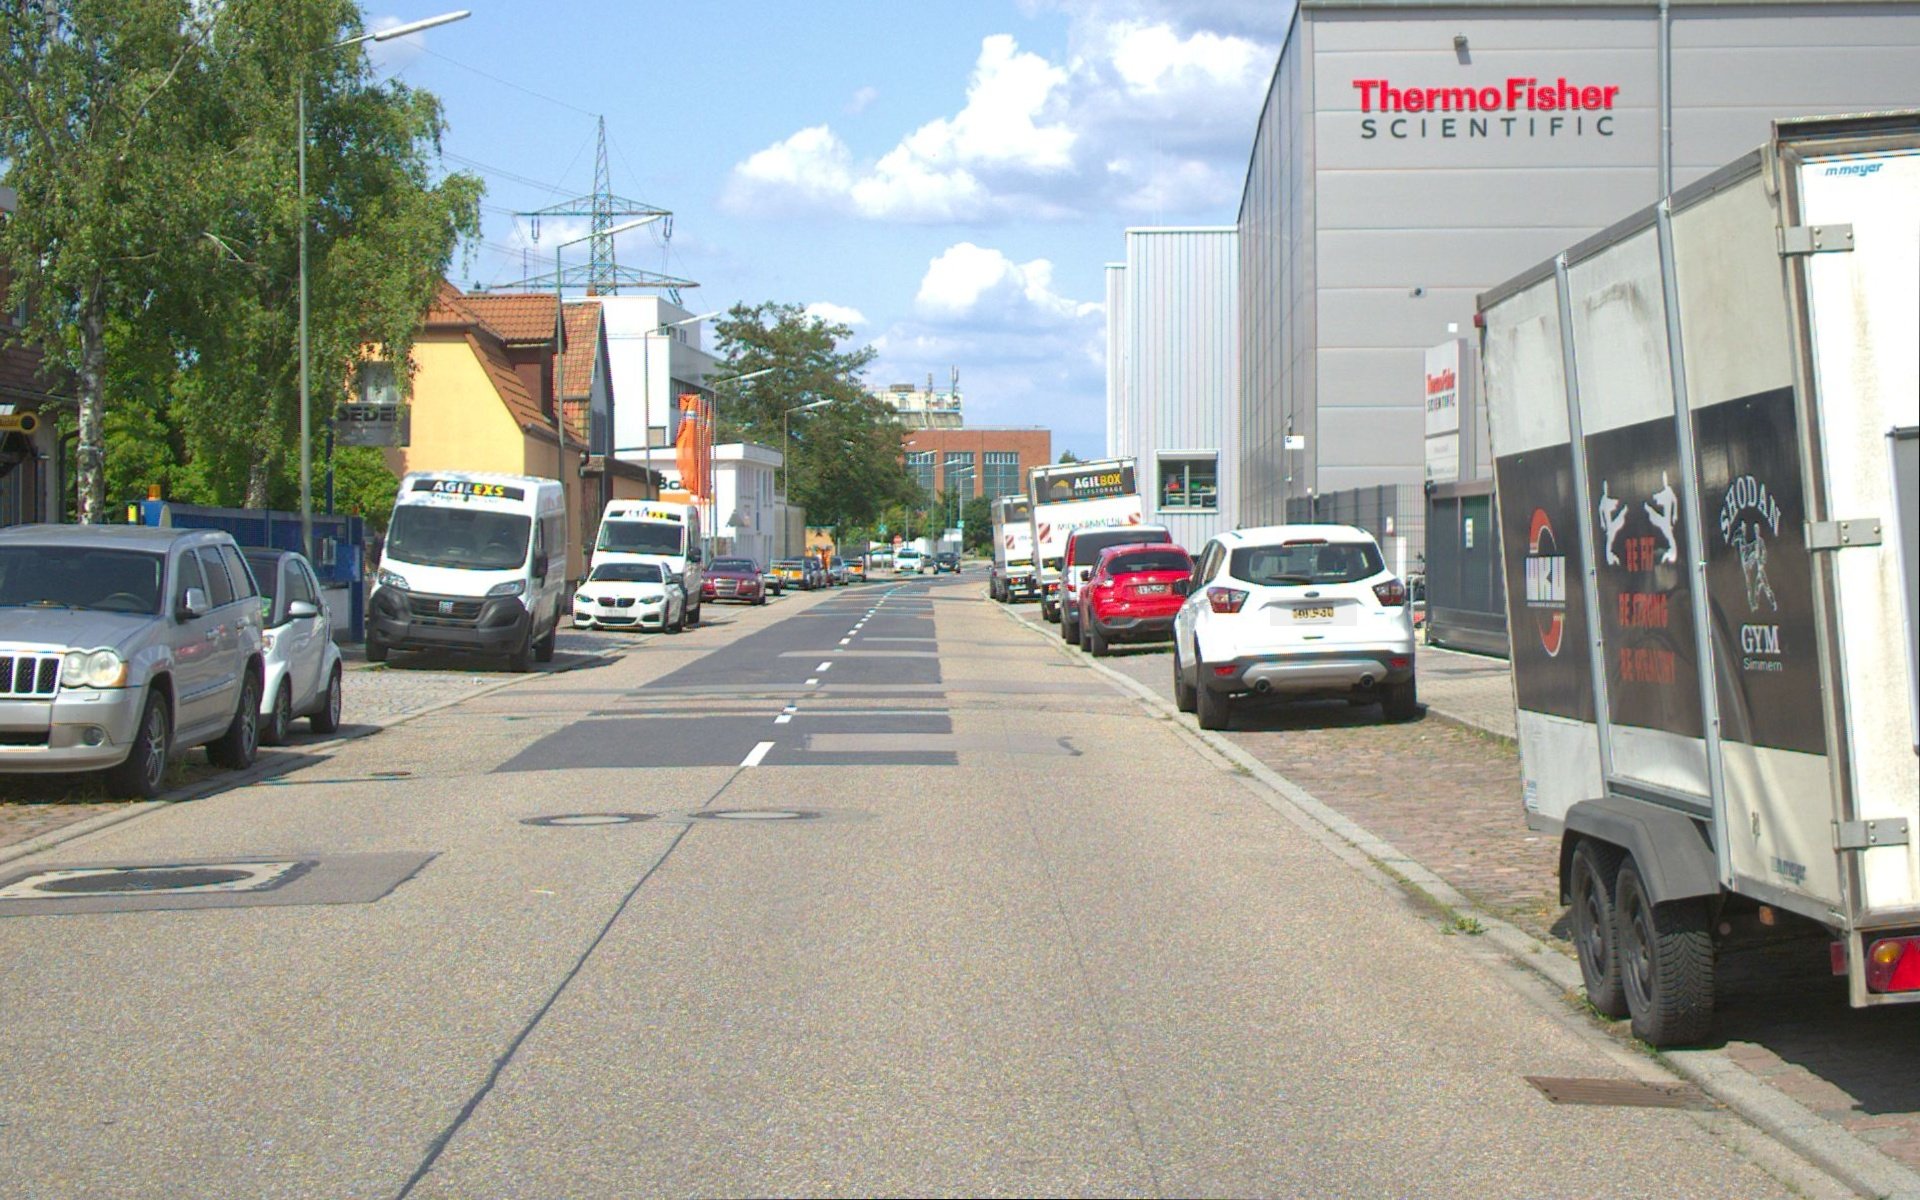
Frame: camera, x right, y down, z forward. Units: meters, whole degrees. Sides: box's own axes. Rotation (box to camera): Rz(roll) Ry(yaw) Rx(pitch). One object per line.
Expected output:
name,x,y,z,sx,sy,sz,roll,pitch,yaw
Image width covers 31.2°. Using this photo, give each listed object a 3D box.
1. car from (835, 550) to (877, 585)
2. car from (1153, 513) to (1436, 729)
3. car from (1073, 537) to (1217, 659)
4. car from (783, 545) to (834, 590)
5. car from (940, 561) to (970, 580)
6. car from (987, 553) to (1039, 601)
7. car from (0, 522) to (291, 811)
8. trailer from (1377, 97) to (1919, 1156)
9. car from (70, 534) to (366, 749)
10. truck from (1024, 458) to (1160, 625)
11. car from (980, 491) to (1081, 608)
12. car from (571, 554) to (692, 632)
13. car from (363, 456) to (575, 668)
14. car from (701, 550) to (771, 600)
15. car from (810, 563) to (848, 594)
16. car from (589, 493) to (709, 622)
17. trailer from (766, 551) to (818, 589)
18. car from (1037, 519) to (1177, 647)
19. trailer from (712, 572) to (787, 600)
car,-5.536,-1.744,183.331,1.922,1.788,4.000,2,0,2
car,2.879,0.137,30.559,1.935,1.688,4.680,-3,1,-1
car,2.651,-0.039,50.123,1.704,1.619,4.093,-3,0,-1
car,-7.017,-1.482,159.866,1.994,2.007,4.000,2,0,2
car,-0.332,-1.949,226.437,1.918,1.280,3.614,-1,1,1
car,1.826,-0.789,118.234,1.768,1.607,3.873,0,0,1
car,-5.868,0.359,23.124,1.790,1.713,4.751,2,1,-1
trailer,3.064,0.013,12.061,2.204,2.727,6.222,-3,0,-1
car,-6.011,0.299,28.141,1.609,1.568,3.009,4,1,1
truck,2.796,-1.239,74.606,2.458,3.282,6.817,-5,0,0
car,2.126,-1.518,105.521,2.388,3.351,6.646,-3,0,-3
car,-6.231,-0.140,65.645,1.796,1.392,4.501,2,0,1
car,-6.445,-0.488,45.889,2.029,2.549,6.658,2,0,-2
car,-6.793,-0.750,104.691,1.762,1.442,4.741,2,0,0
car,-6.303,-1.041,165.377,1.668,1.442,3.453,2,0,0
car,-6.525,-0.868,72.846,2.026,2.552,6.840,2,0,-1
trailer,-7.054,-1.265,144.391,1.993,1.551,4.253,0,1,0
car,2.393,-0.301,57.103,2.054,1.897,5.147,-4,1,1
trailer,-7.502,-0.495,123.274,2.362,0.890,5.569,2,0,0
